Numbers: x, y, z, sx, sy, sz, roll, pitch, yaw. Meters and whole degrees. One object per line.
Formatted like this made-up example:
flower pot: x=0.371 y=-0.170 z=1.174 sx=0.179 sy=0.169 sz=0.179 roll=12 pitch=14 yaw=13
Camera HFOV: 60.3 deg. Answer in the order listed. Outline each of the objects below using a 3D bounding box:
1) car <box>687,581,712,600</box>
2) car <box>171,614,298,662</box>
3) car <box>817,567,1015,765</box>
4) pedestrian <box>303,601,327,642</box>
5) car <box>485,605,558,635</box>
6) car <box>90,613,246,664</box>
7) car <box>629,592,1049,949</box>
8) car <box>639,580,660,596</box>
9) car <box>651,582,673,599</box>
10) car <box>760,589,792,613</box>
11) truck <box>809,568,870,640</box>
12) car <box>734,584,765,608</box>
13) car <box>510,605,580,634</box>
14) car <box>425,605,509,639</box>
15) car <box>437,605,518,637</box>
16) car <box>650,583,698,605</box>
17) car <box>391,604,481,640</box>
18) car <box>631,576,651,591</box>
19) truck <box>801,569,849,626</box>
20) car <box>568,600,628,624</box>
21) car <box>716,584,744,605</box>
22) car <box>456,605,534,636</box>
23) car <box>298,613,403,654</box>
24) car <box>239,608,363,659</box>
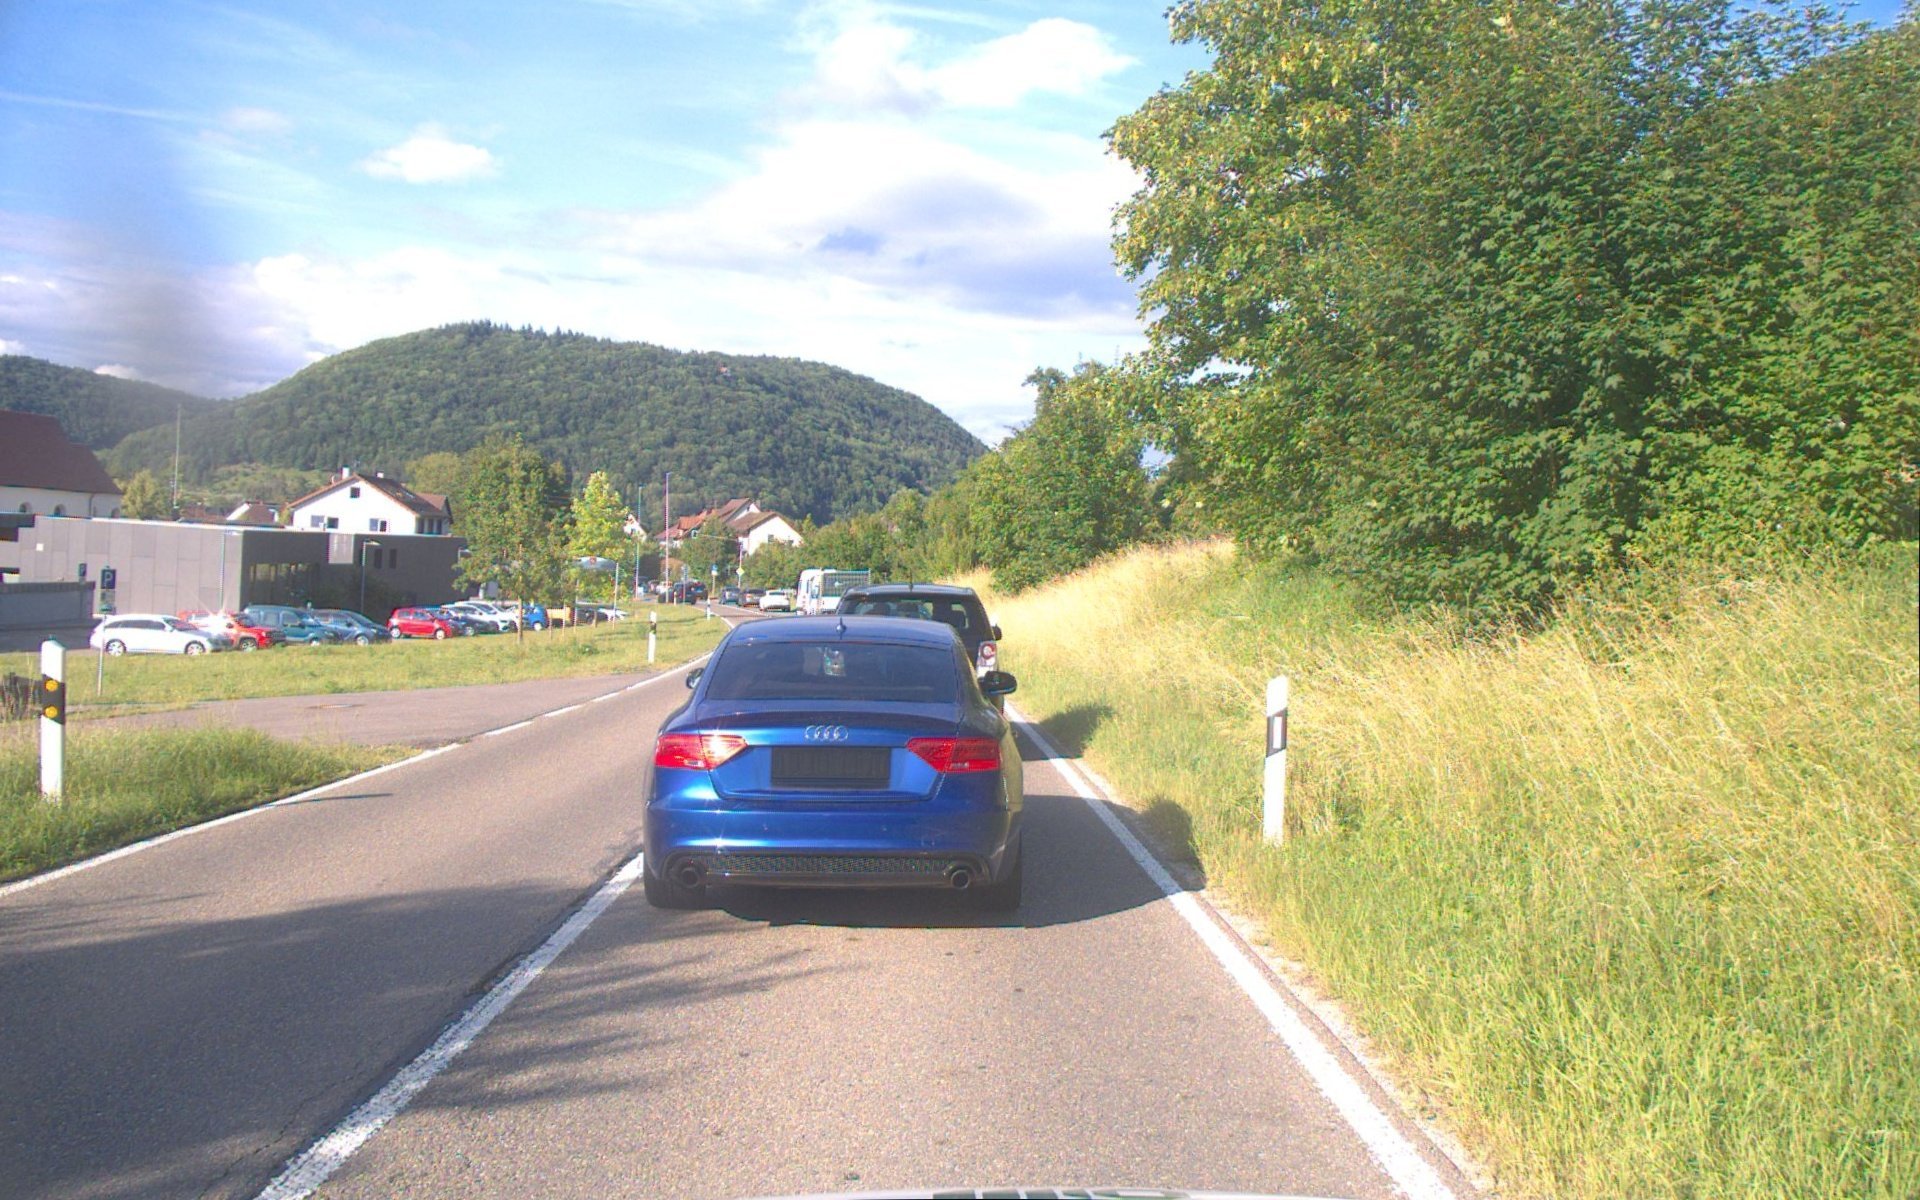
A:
car: x=-25.125 y=-0.880 z=159.294 sx=1.816 sy=1.742 sz=3.981 roll=1 pitch=0 yaw=-17
car: x=-27.590 y=1.421 z=62.998 sx=3.907 sy=1.741 sz=1.999 roll=1 pitch=0 yaw=-3
car: x=-0.383 y=0.590 z=16.451 sx=1.718 sy=1.710 sz=3.846 roll=1 pitch=0 yaw=0
pedestrian: x=-32.502 y=1.079 z=83.372 sx=0.808 sy=2.049 sz=0.973 roll=1 pitch=-1 yaw=-1
car: x=-26.743 y=1.208 z=100.897 sx=3.907 sy=1.741 sz=1.999 roll=1 pitch=0 yaw=-3
car: x=-28.653 y=1.387 z=59.973 sx=4.637 sy=1.741 sz=1.999 roll=1 pitch=0 yaw=-3
car: x=-0.495 y=0.717 z=8.784 sx=1.718 sy=1.455 sz=3.846 roll=1 pitch=0 yaw=0
car: x=-34.975 y=-1.372 z=186.409 sx=1.817 sy=1.742 sz=3.979 roll=1 pitch=0 yaw=-19
car: x=-32.175 y=-1.026 z=178.452 sx=1.817 sy=1.742 sz=3.979 roll=1 pitch=0 yaw=-19
car: x=-12.465 y=0.066 z=111.866 sx=1.813 sy=1.508 sz=3.988 roll=1 pitch=0 yaw=-12
truck: x=-4.660 y=0.147 z=64.014 sx=2.186 sy=2.615 sz=6.098 roll=1 pitch=0 yaw=-4
car: x=-16.053 y=-0.281 z=126.100 sx=1.815 sy=1.742 sz=3.984 roll=1 pitch=0 yaw=-15
car: x=-25.968 y=1.235 z=103.583 sx=3.907 sy=1.741 sz=1.999 roll=1 pitch=0 yaw=-3
car: x=-26.241 y=1.150 z=88.177 sx=3.907 sy=1.741 sz=1.999 roll=1 pitch=0 yaw=-3
car: x=-26.764 y=1.161 z=91.825 sx=3.907 sy=1.741 sz=1.999 roll=1 pitch=0 yaw=-3
car: x=-23.332 y=-0.528 z=134.709 sx=3.929 sy=1.742 sz=1.840 roll=1 pitch=-1 yaw=42
car: x=-26.465 y=1.123 z=83.625 sx=3.907 sy=1.741 sz=1.999 roll=1 pitch=0 yaw=-3
car: x=-37.524 y=-1.932 z=194.342 sx=1.817 sy=1.742 sz=3.979 roll=1 pitch=0 yaw=-19
truck: x=-6.510 y=-0.083 z=80.343 sx=2.186 sy=2.615 sz=6.701 roll=1 pitch=0 yaw=-4
car: x=-25.820 y=0.863 z=118.151 sx=3.907 sy=1.606 sz=1.751 roll=1 pitch=0 yaw=-3
car: x=-19.284 y=-0.439 z=138.744 sx=1.815 sy=1.742 sz=3.984 roll=1 pitch=0 yaw=-15
car: x=-26.714 y=1.179 z=95.110 sx=3.907 sy=1.741 sz=1.999 roll=1 pitch=0 yaw=-3
car: x=-26.974 y=1.485 z=73.320 sx=3.907 sy=1.741 sz=1.999 roll=1 pitch=0 yaw=-3
car: x=-27.368 y=1.386 z=68.812 sx=4.318 sy=2.043 sz=1.999 roll=1 pitch=0 yaw=-3
